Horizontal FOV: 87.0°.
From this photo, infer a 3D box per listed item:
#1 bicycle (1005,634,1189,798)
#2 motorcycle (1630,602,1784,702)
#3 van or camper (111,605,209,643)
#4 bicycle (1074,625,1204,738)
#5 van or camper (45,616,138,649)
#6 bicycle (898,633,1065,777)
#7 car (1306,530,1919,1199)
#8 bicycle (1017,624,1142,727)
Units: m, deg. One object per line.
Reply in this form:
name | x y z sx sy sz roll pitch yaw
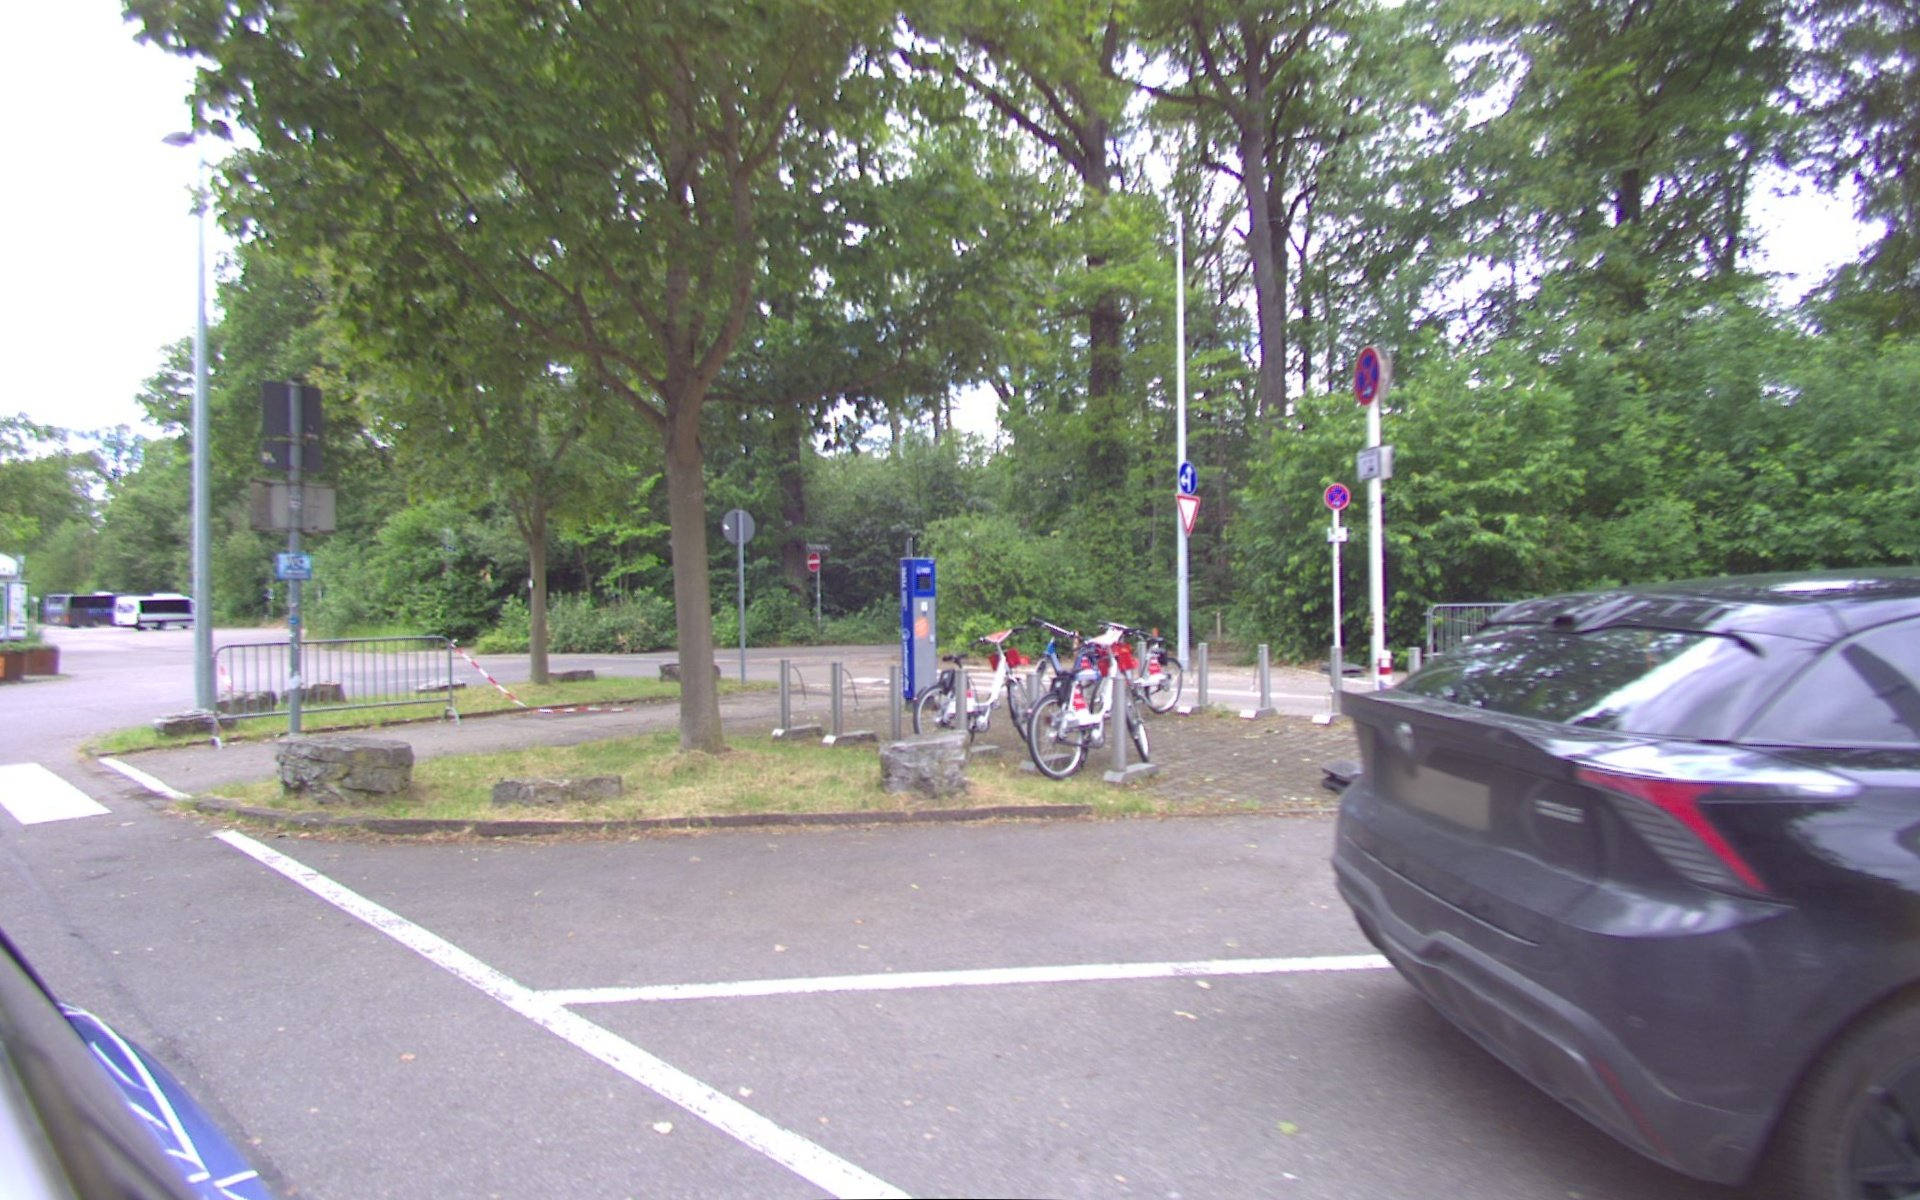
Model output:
bicycle | 1.140 0.864 8.112 0.483 1.120 1.763 -1 0 45
motorcycle | 9.874 0.650 13.489 0.722 1.217 2.025 -1 0 7
van or camper | -64.563 1.899 81.897 2.040 2.871 7.336 -1 0 2
bicycle | 2.013 0.867 11.238 1.659 1.120 0.506 -1 0 -43
van or camper | -83.087 3.049 97.035 2.176 2.871 7.329 -1 0 5
bicycle | 0.227 0.891 9.116 0.483 1.120 1.660 -1 0 45
car | 3.295 0.615 2.733 4.042 1.534 1.831 -1 0 0
bicycle | 1.464 0.879 12.228 1.670 1.120 0.483 -1 0 -40
